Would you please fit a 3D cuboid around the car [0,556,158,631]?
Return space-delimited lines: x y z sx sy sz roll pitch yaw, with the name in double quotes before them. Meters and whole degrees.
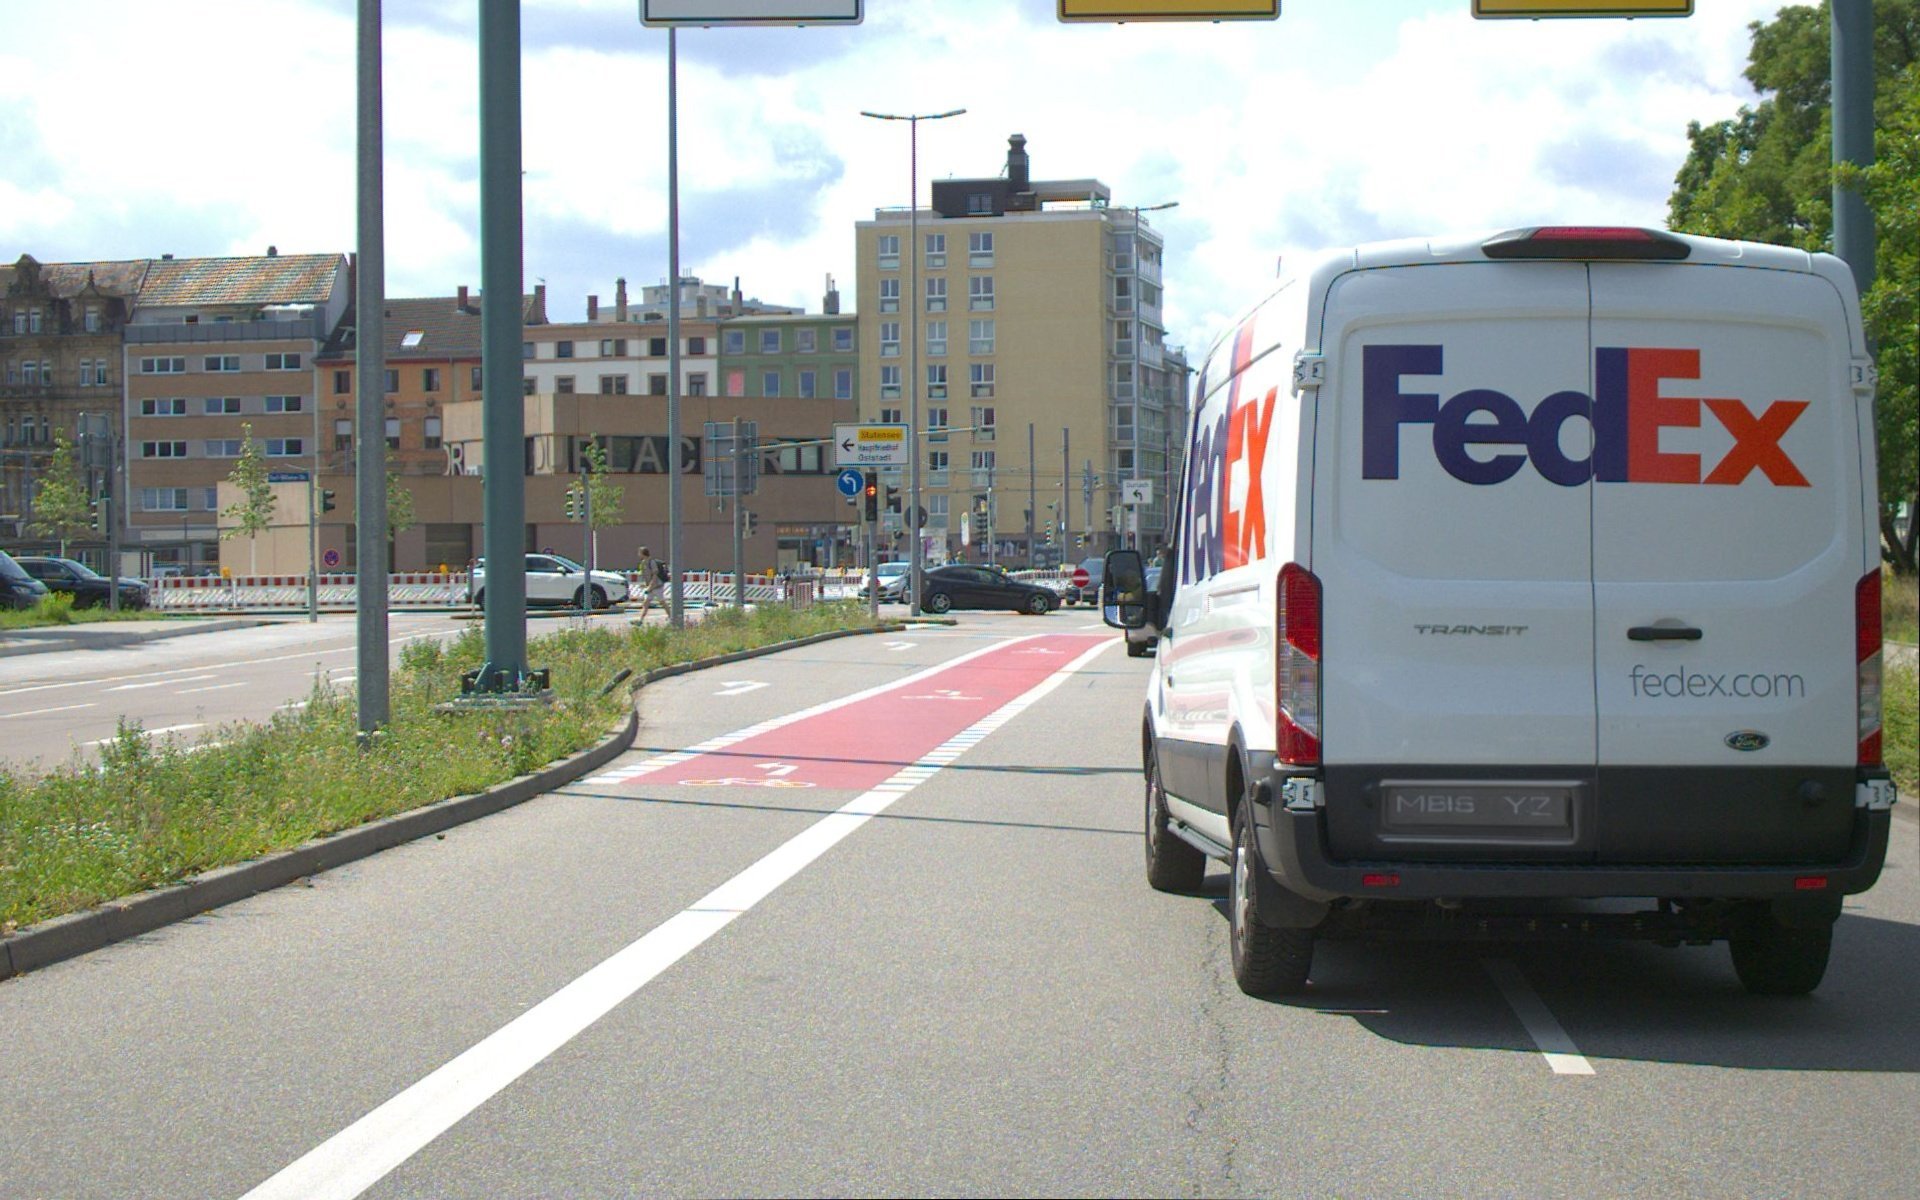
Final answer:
"car" -24.446 -0.176 93.898 4.628 2.007 2.100 0 0 -1

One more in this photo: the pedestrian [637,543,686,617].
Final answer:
"pedestrian" -6.336 -0.428 72.990 0.873 1.554 0.555 0 1 -28

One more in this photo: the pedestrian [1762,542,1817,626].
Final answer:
"pedestrian" 15.270 -0.293 63.330 0.845 1.533 0.835 0 1 3

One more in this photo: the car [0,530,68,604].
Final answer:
"car" -25.747 -0.863 88.598 5.008 1.872 1.929 0 1 0

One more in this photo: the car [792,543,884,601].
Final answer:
"car" -4.268 -0.960 120.949 1.995 2.007 3.996 0 0 18

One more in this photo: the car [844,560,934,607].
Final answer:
"car" -2.438 -0.567 119.214 1.902 1.579 3.996 0 0 18

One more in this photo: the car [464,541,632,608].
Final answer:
"car" -11.168 -0.685 93.454 4.357 1.787 2.000 0 0 -1

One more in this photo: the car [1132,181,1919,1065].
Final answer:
"car" 1.901 0.028 13.136 2.140 2.643 5.704 0 1 -1
